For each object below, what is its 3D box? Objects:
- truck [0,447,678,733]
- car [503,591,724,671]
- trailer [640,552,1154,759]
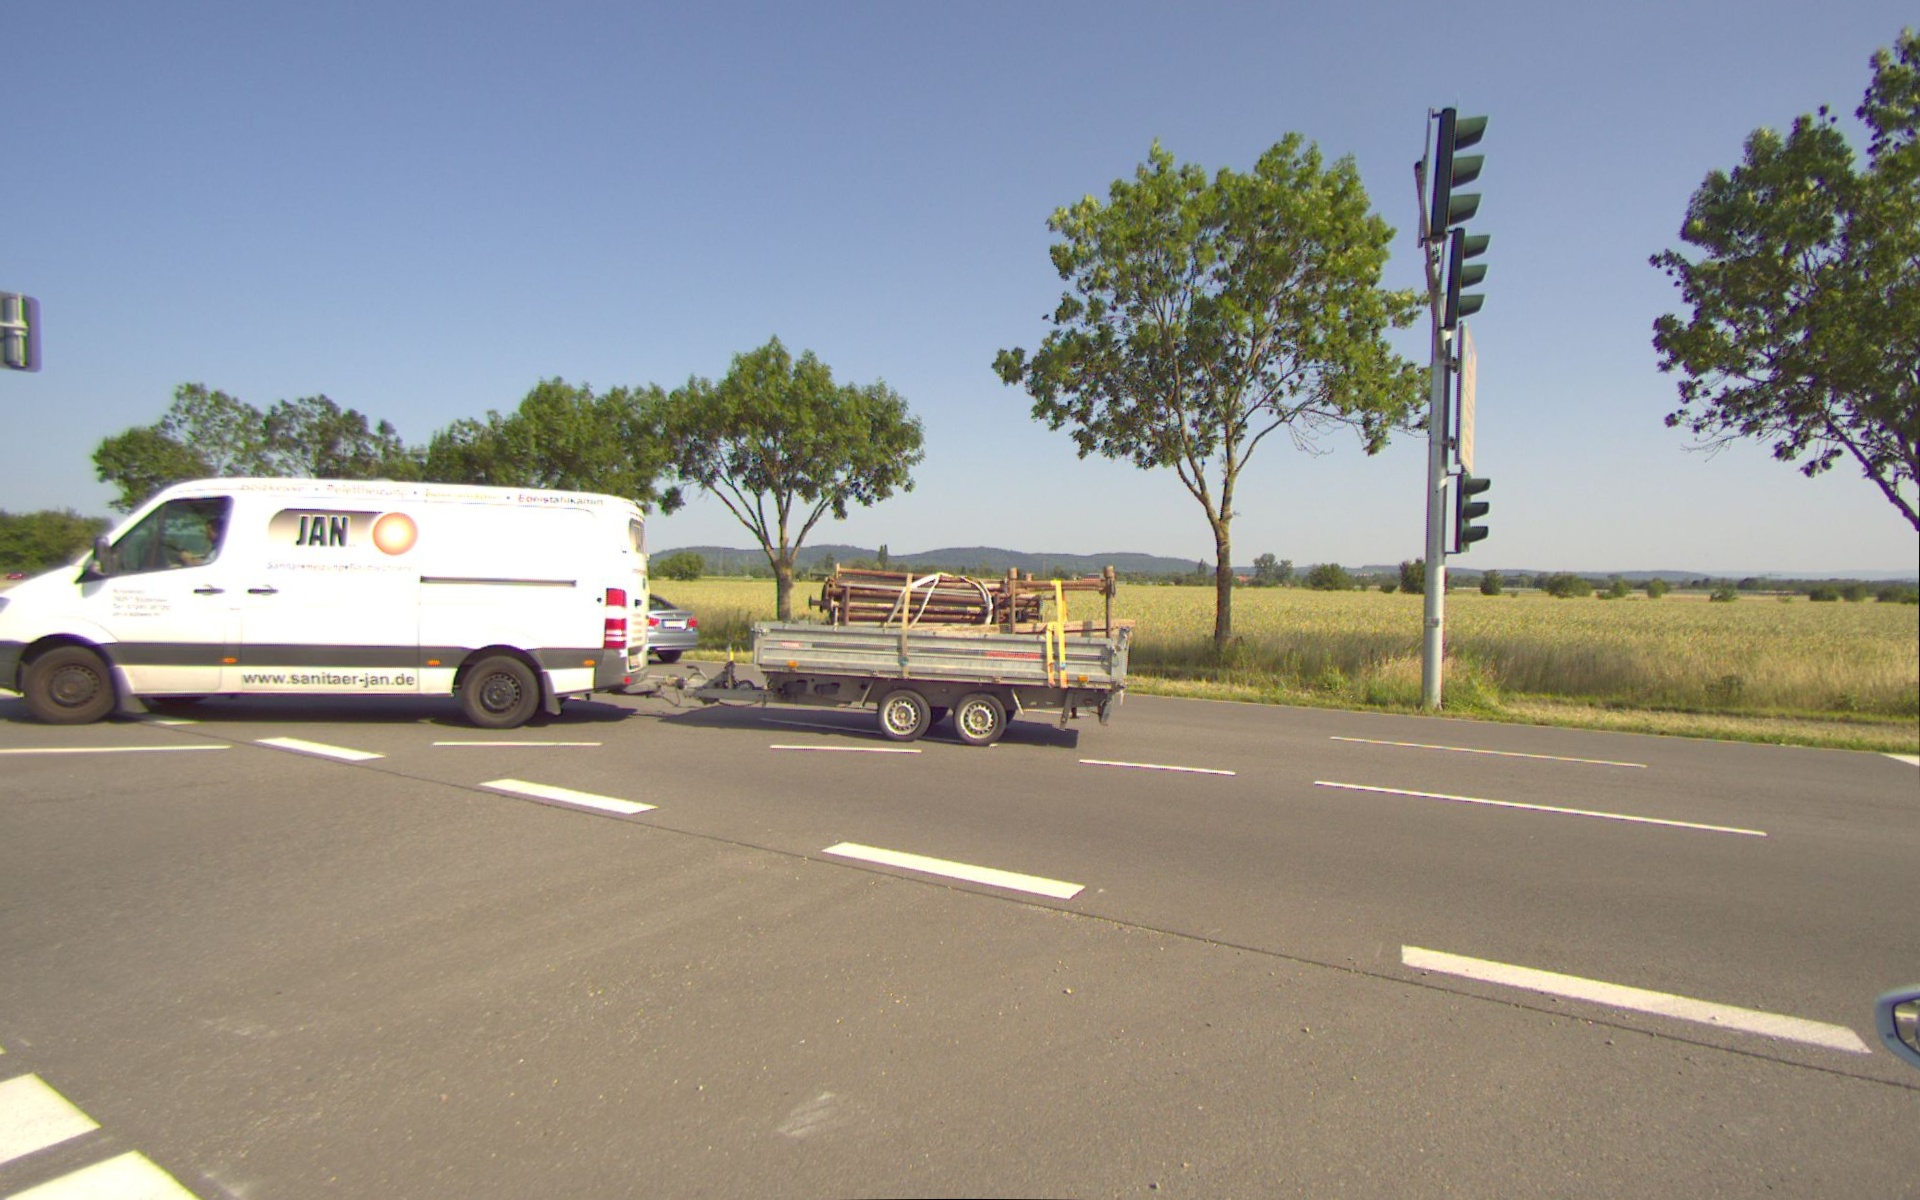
[{"bbox_3d":[-6.167,-0.036,10.224,6.088,2.437,2.067,2,0,-10],"label":"truck"},{"bbox_3d":[-7.032,0.592,20.300,4.340,1.395,1.633,2,-1,27],"label":"car"},{"bbox_3d":[-0.549,0.497,10.501,4.910,1.761,1.982,2,0,8],"label":"trailer"}]
